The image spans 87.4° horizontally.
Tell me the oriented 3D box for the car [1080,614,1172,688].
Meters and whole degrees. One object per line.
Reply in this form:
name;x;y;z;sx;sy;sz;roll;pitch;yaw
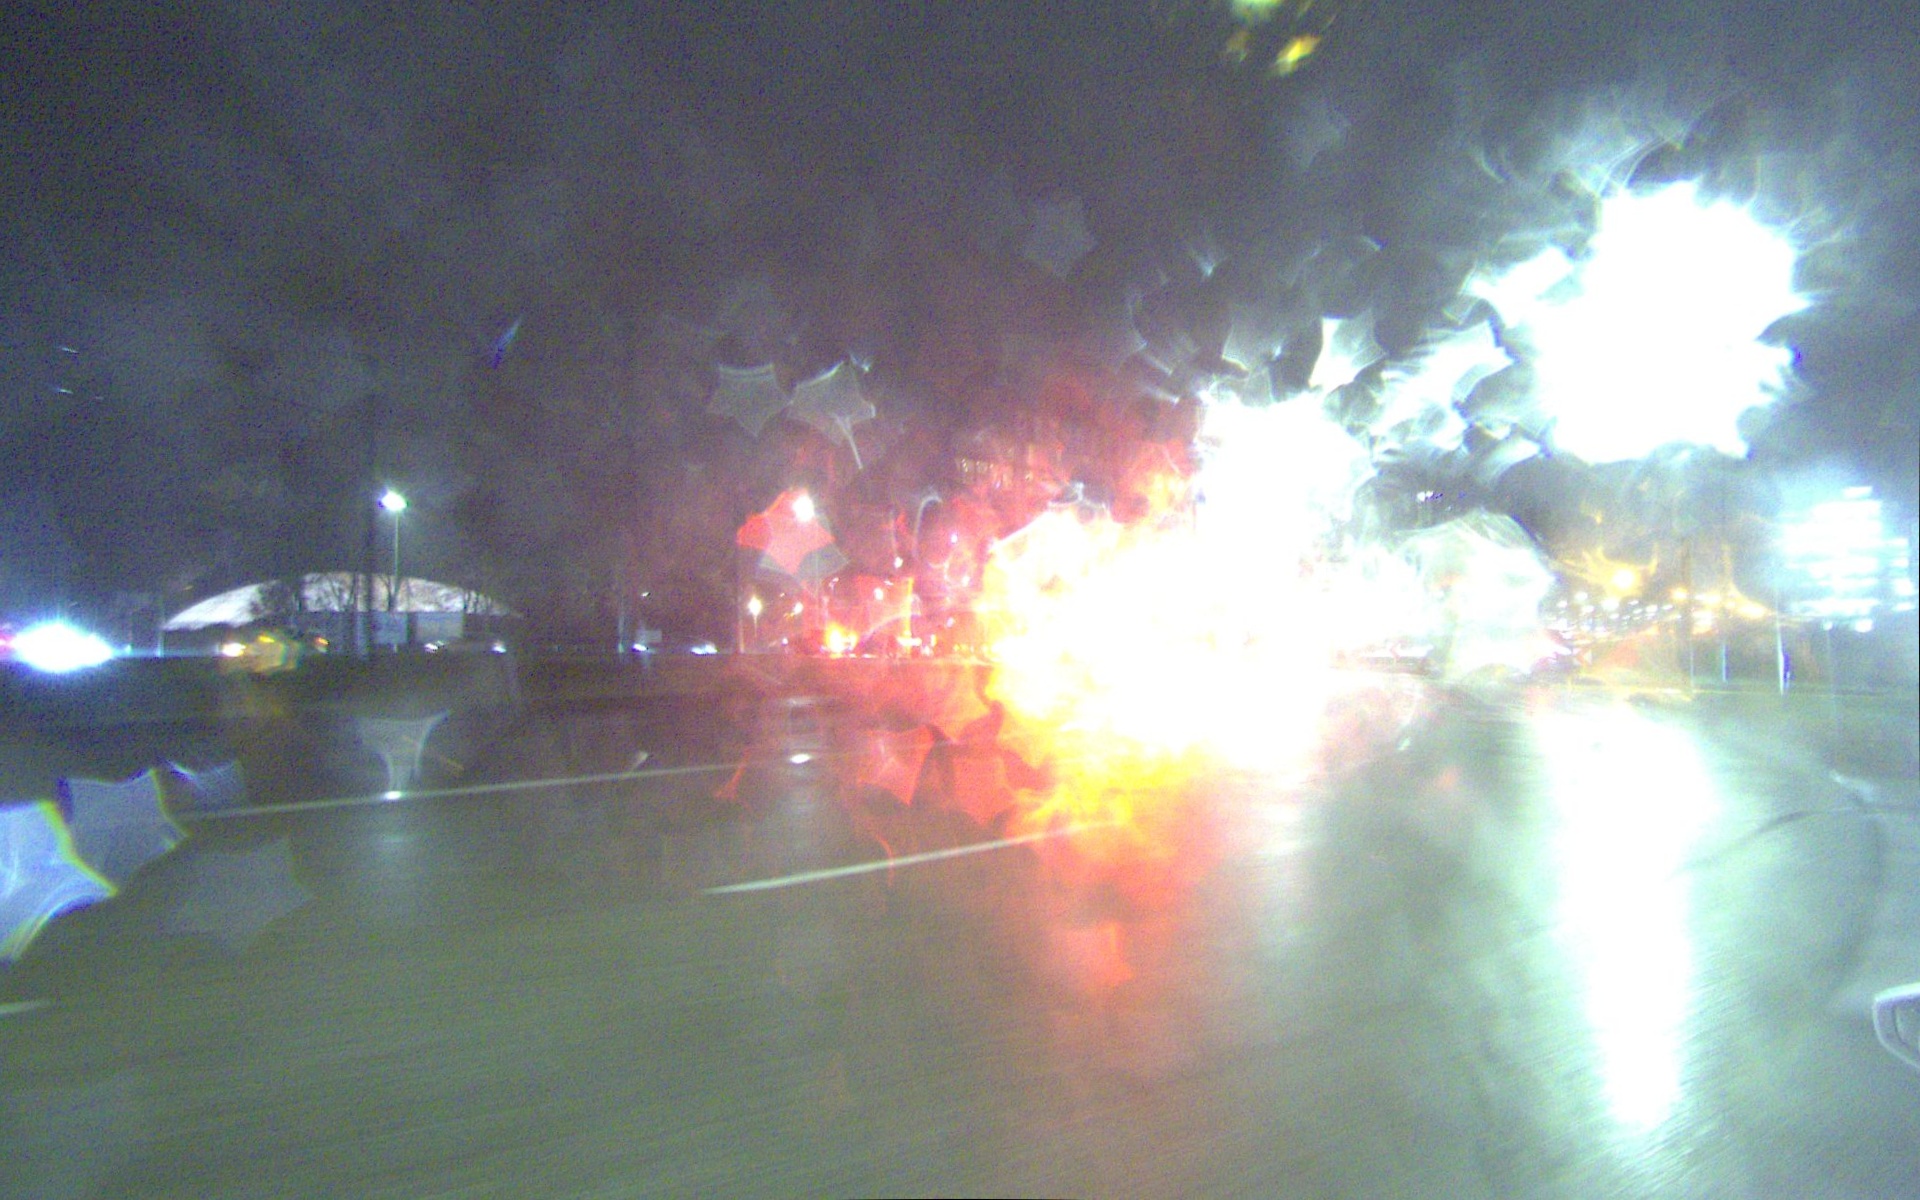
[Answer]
car;4.126;1.172;24.489;1.702;1.600;3.966;-1;0;17

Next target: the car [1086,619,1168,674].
car;5.245;1.431;32.017;1.840;1.600;3.964;-1;0;-2

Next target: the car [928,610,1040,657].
car;1.049;1.556;48.650;2.487;2.117;6.261;0;-1;-31

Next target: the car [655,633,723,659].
car;-16.596;2.808;61.542;3.951;1.463;1.827;-1;0;-15

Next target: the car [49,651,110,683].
car;-48.841;3.666;55.695;3.936;1.595;1.753;-1;-1;37

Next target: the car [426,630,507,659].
car;-28.092;2.514;57.342;3.958;1.463;1.824;0;0;-21

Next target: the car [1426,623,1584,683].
car;16.589;1.557;30.748;1.845;1.662;3.852;0;-1;-35

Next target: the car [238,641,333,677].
car;-34.614;2.992;51.596;3.846;1.639;1.750;0;-1;-44

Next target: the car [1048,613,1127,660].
car;4.629;1.285;37.023;1.706;1.600;3.957;-1;0;-11

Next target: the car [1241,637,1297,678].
car;13.659;2.508;44.648;1.564;1.605;4.002;-1;0;5

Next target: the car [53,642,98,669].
car;-56.966;3.553;64.678;3.941;1.550;1.671;-1;-1;41

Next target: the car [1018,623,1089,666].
car;3.873;1.823;42.376;1.805;1.637;3.989;-1;0;-13
